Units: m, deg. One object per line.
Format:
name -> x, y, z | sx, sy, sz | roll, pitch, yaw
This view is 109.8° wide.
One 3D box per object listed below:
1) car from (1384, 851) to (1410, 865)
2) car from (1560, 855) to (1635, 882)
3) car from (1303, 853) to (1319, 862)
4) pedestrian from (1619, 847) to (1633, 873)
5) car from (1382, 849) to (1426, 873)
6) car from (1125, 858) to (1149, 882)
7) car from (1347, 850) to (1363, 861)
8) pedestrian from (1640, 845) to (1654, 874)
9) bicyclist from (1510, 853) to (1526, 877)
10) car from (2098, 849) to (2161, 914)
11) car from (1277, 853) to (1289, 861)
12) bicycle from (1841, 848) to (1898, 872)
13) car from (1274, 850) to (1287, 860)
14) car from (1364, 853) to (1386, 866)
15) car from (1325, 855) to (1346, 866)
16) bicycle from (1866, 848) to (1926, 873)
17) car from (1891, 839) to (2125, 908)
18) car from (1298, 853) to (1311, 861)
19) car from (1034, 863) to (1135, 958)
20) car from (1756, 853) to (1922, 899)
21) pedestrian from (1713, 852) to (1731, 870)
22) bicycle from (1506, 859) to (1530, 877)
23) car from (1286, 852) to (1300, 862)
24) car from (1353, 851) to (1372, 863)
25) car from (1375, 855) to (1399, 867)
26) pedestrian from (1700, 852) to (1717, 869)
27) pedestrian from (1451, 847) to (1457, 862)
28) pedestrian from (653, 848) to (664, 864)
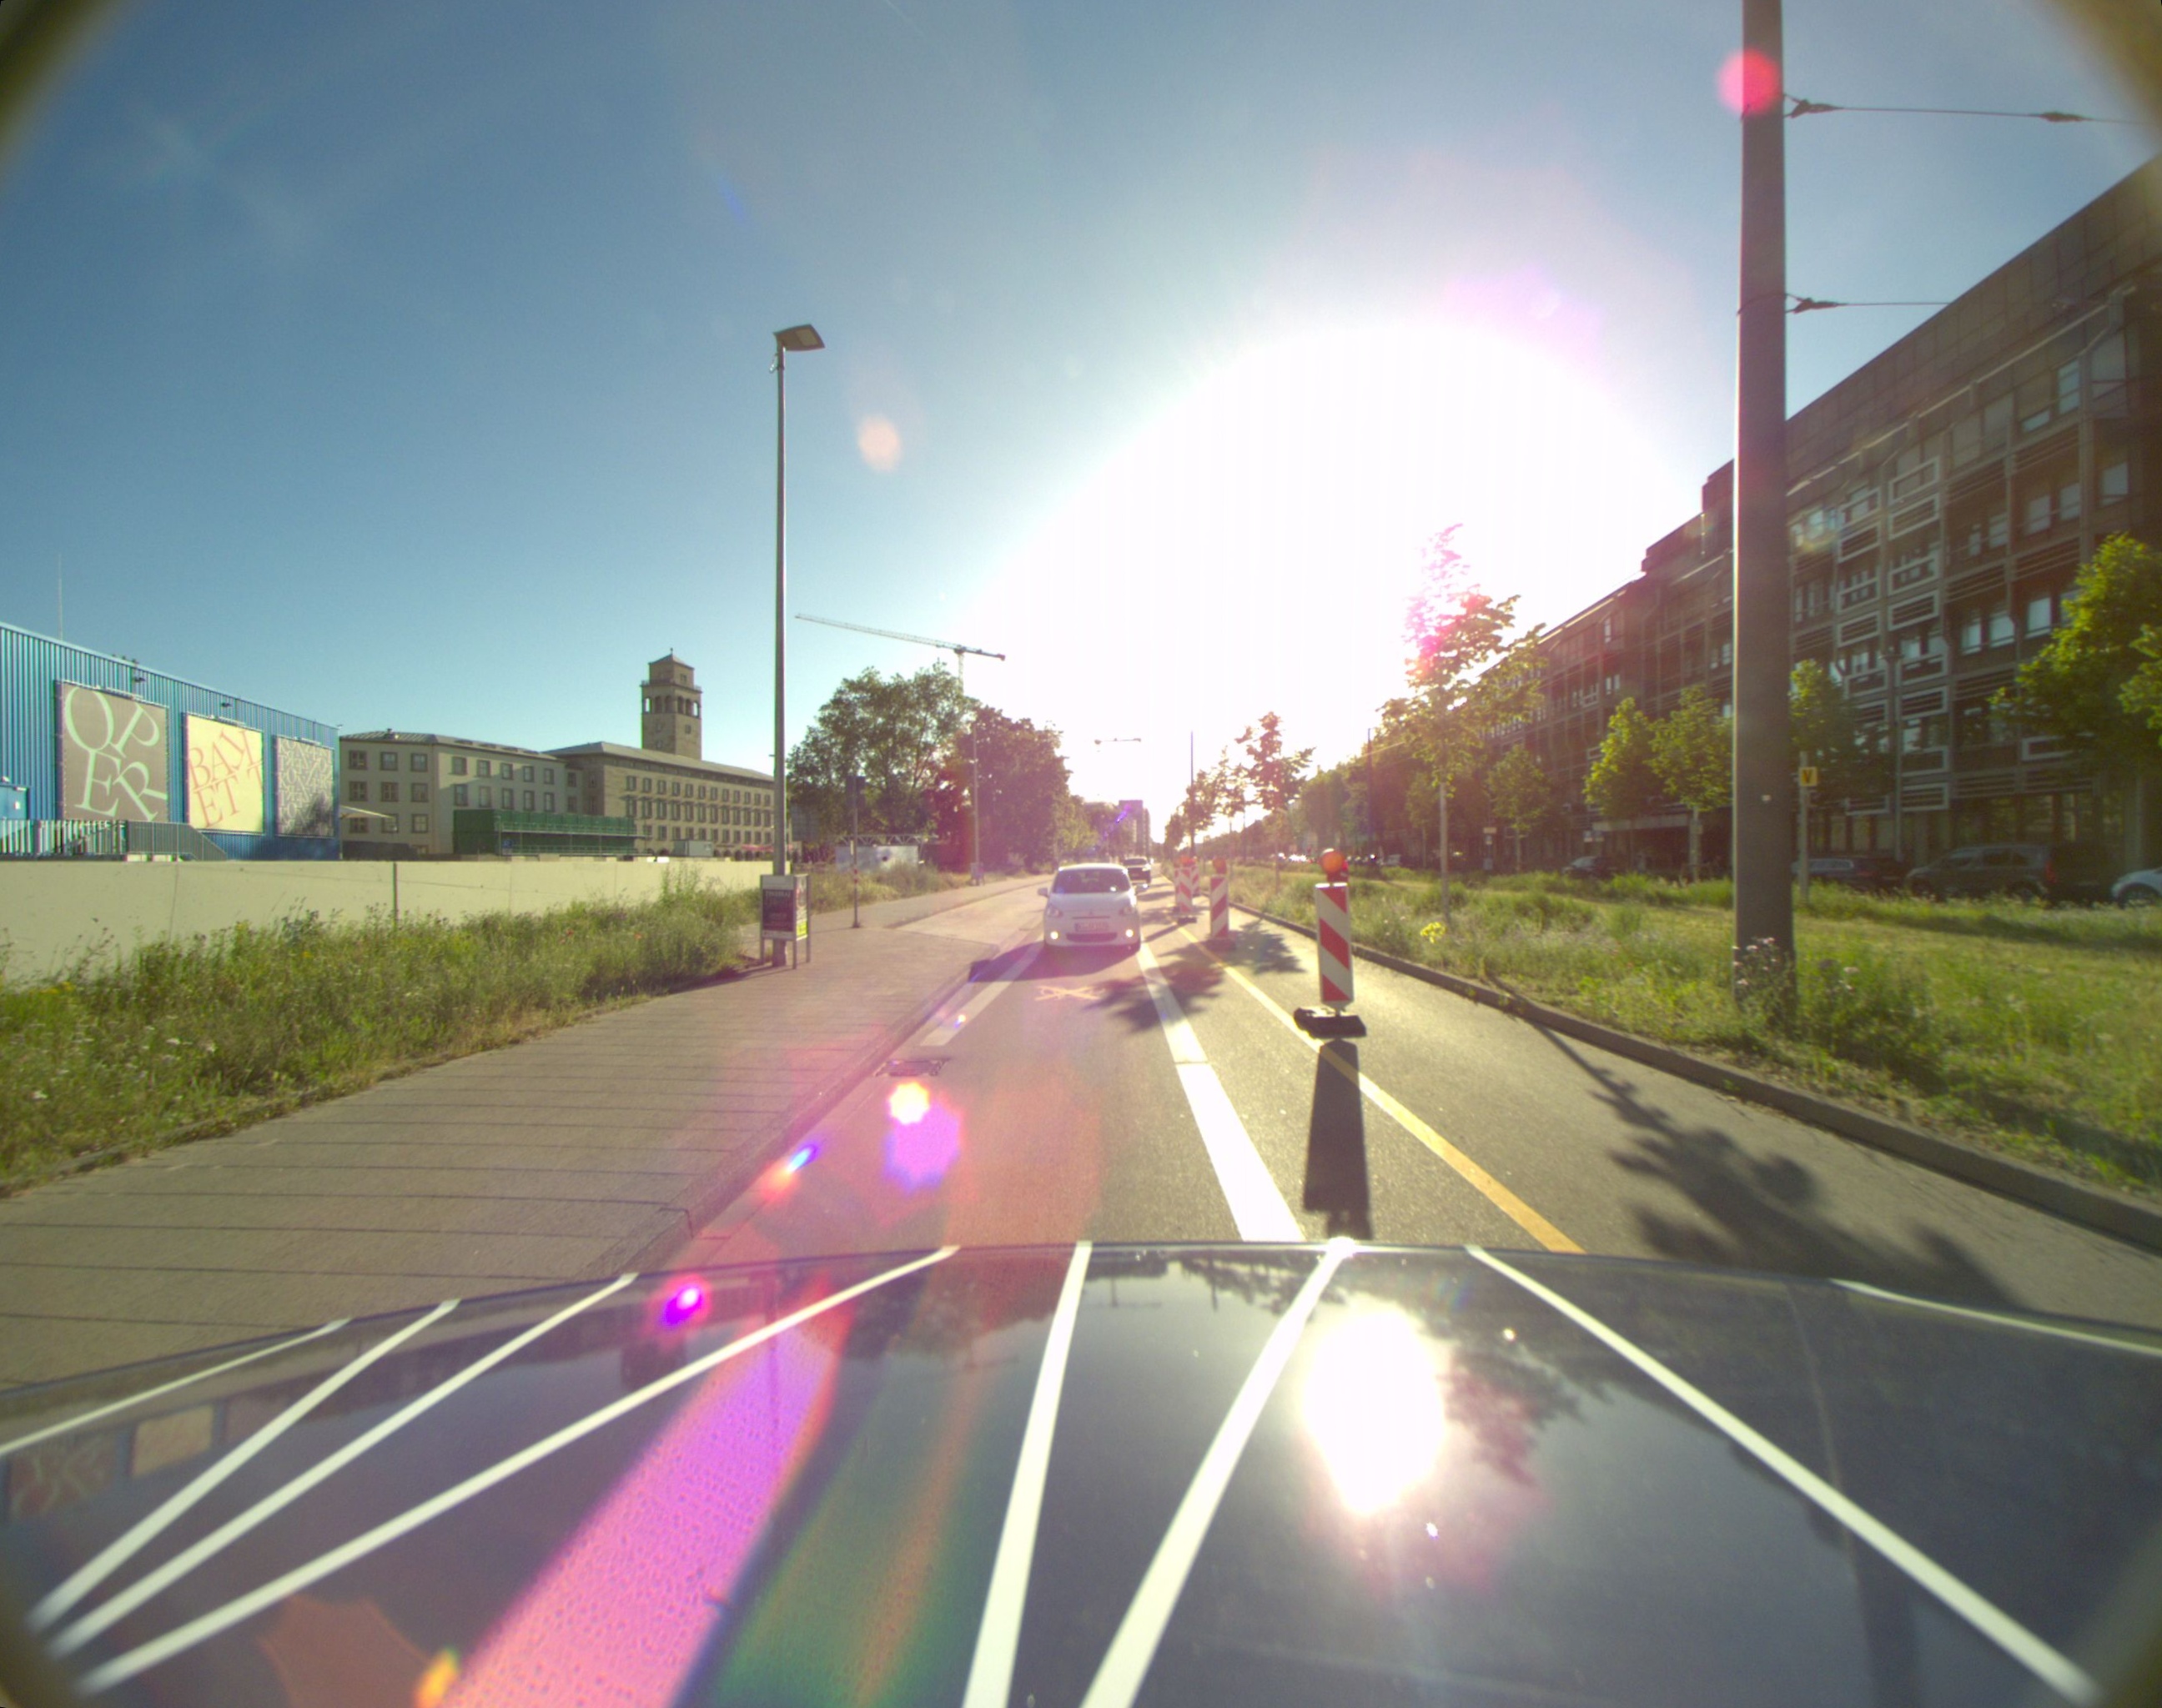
car -> 37.630, 0.447, 90.521 | 1.725, 1.535, 3.632 | -3, 0, 5
car -> 28.911, 0.793, 42.665 | 1.719, 1.379, 4.041 | -3, 0, 6
car -> 36.421, 0.516, 120.269 | 1.631, 1.487, 4.419 | 0, 0, 7
pedestrian -> 32.827, 0.367, 45.754 | 0.521, 1.569, 0.536 | 0, 1, 9
car -> 24.538, 0.516, 57.883 | 1.732, 1.736, 4.122 | -1, 0, 3
car -> 3.600, 1.008, 48.793 | 1.458, 1.472, 3.529 | -1, 0, 5
car -> 40.788, 0.185, 113.077 | 1.389, 1.592, 3.267 | -3, 0, 5
pedestrian -> 33.809, 0.351, 45.395 | 0.521, 1.712, 0.536 | 0, 1, 9
bicyclist -> 26.808, 0.657, 46.599 | 0.566, 1.449, 0.706 | 0, 0, 4
car -> 26.400, 0.638, 17.176 | 1.741, 1.527, 3.886 | -2, 0, 5
car -> 35.835, 0.484, 134.557 | 1.554, 1.371, 3.782 | 0, 0, 7
bicycle -> 35.641, 0.259, 34.364 | 1.878, 1.066, 0.425 | 0, 0, 10
car -> 37.632, 0.185, 143.320 | 1.864, 1.671, 3.782 | 0, 0, 7
car -> 39.292, 0.737, 101.688 | 1.725, 1.592, 3.633 | -3, 0, 5
car -> 33.805, 0.867, 101.109 | 1.719, 1.379, 4.041 | -2, 0, 6
bicycle -> 35.527, 0.271, 33.127 | 1.932, 1.066, 0.425 | 0, 0, 10
car -> 26.798, 0.534, 22.239 | 1.754, 1.761, 4.333 | -2, 0, 5
car -> 38.363, 0.496, 130.345 | 1.631, 1.487, 3.782 | 0, 0, 7
car -> 0.170, 0.961, 14.287 | 1.614, 1.488, 3.395 | -2, 0, 4
car -> 27.321, 0.734, 27.629 | 1.733, 1.460, 4.506 | -3, 0, 4
pedestrian -> 35.752, 0.394, 42.377 | 0.618, 0.980, 0.499 | -1, 1, 8
bicycle -> 26.814, 0.870, 46.625 | 0.566, 1.090, 1.771 | 0, 0, 4
car -> 33.600, 0.478, 120.539 | 1.631, 1.487, 3.782 | 0, 0, 7
car -> 39.606, 0.392, 106.936 | 1.510, 1.592, 3.528 | -3, 0, 5
car -> 38.661, 0.842, 96.042 | 1.726, 1.477, 3.632 | -1, 0, 3
pedestrian -> 35.923, 0.384, 43.503 | 0.618, 0.980, 0.499 | -1, 1, 8
pedestrian -> 43.844, 0.101, 89.332 | 0.483, 1.739, 0.639 | 0, 1, 7
pedestrian -> -35.760, 0.159, 64.249 | 0.572, 1.288, 0.441 | -3, 2, 18
